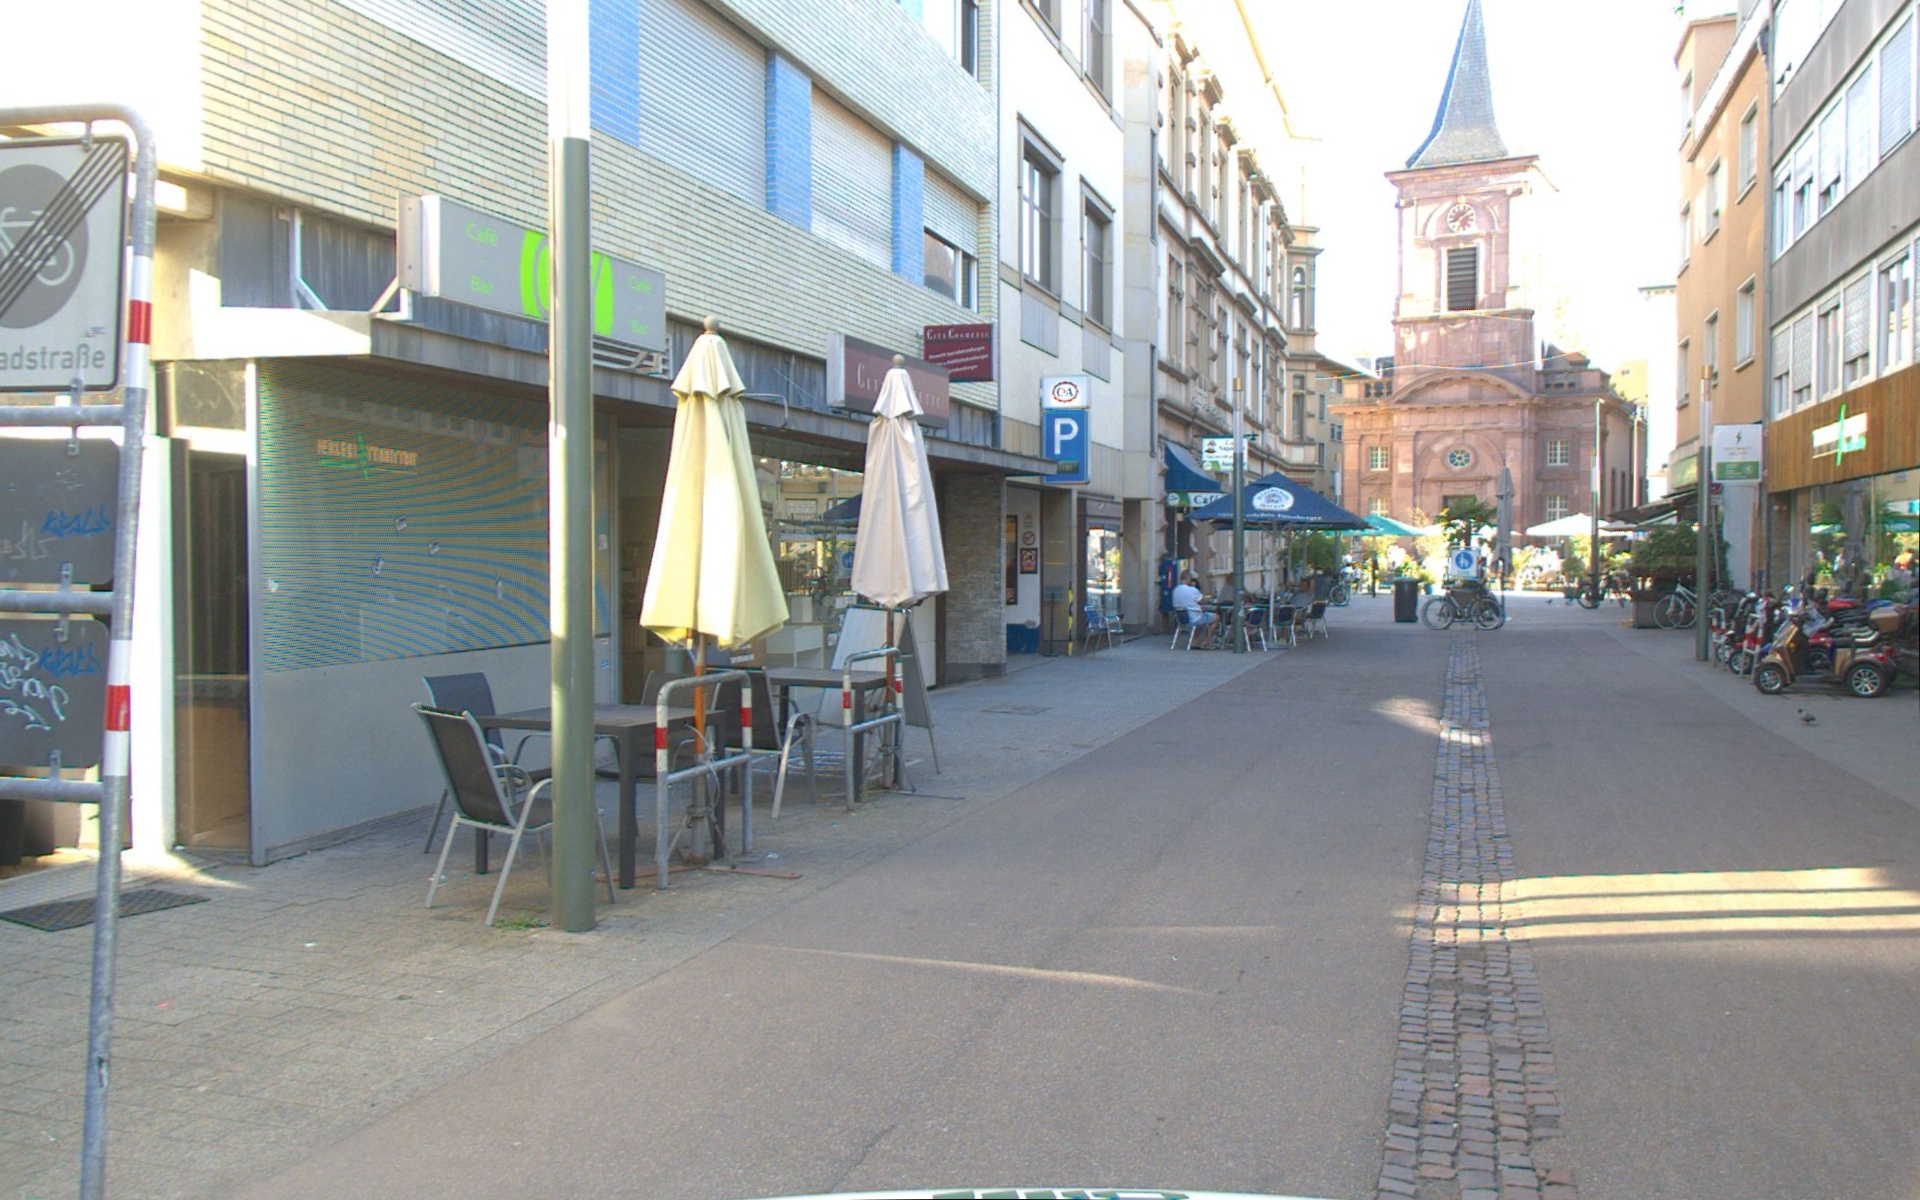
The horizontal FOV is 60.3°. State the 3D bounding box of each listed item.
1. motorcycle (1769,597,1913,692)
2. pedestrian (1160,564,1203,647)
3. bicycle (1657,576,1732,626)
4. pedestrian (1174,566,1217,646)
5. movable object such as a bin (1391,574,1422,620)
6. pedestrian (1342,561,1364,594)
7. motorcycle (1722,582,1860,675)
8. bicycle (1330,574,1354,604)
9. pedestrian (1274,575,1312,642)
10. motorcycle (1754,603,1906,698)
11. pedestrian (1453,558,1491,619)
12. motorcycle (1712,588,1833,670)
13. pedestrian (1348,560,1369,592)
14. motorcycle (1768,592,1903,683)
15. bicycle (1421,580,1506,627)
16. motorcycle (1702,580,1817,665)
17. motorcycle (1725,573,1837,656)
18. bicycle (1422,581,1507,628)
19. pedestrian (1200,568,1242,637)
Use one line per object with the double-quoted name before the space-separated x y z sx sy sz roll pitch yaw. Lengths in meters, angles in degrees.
"motorcycle" 10.556 0.519 19.844 1.491 1.094 0.411 0 1 36
"pedestrian" 3.755 0.079 28.131 0.693 1.392 0.720 0 1 5
"bicycle" 15.485 0.012 34.875 1.434 1.022 0.573 1 1 24
"pedestrian" 4.152 0.097 29.178 0.702 1.392 0.711 0 1 5
"movable object such as a bin" 10.859 -0.075 40.220 0.706 1.093 0.374 0 1 16
"pedestrian" 15.036 -0.851 63.251 0.686 1.239 0.719 1 1 23
"motorcycle" 11.064 0.367 22.036 1.597 1.195 0.479 0 1 36
"bicycle" 11.432 -0.334 49.483 0.447 0.864 2.147 0 2 20
"pedestrian" 6.291 0.151 31.227 0.677 1.236 0.584 0 1 9
"motorcycle" 10.104 0.568 19.244 1.537 1.060 0.371 0 1 36
"pedestrian" 12.678 -0.295 40.958 0.865 1.489 0.731 0 1 18
"motorcycle" 11.224 0.389 22.871 1.458 1.094 0.411 0 1 36
"pedestrian" 15.549 -0.948 64.589 0.686 1.239 0.719 1 1 23
"motorcycle" 10.971 0.455 20.742 1.458 1.094 0.411 0 1 36
"bicycle" 11.282 0.081 37.086 1.785 1.022 0.381 0 1 14
"motorcycle" 11.496 0.311 23.799 1.457 1.202 0.411 0 1 33
"motorcycle" 12.168 0.209 24.533 1.457 1.202 0.411 0 1 33
"bicycle" 11.185 0.091 36.694 1.785 1.022 0.381 0 1 14
"pedestrian" 4.868 0.038 30.842 0.748 1.254 0.832 0 1 9
